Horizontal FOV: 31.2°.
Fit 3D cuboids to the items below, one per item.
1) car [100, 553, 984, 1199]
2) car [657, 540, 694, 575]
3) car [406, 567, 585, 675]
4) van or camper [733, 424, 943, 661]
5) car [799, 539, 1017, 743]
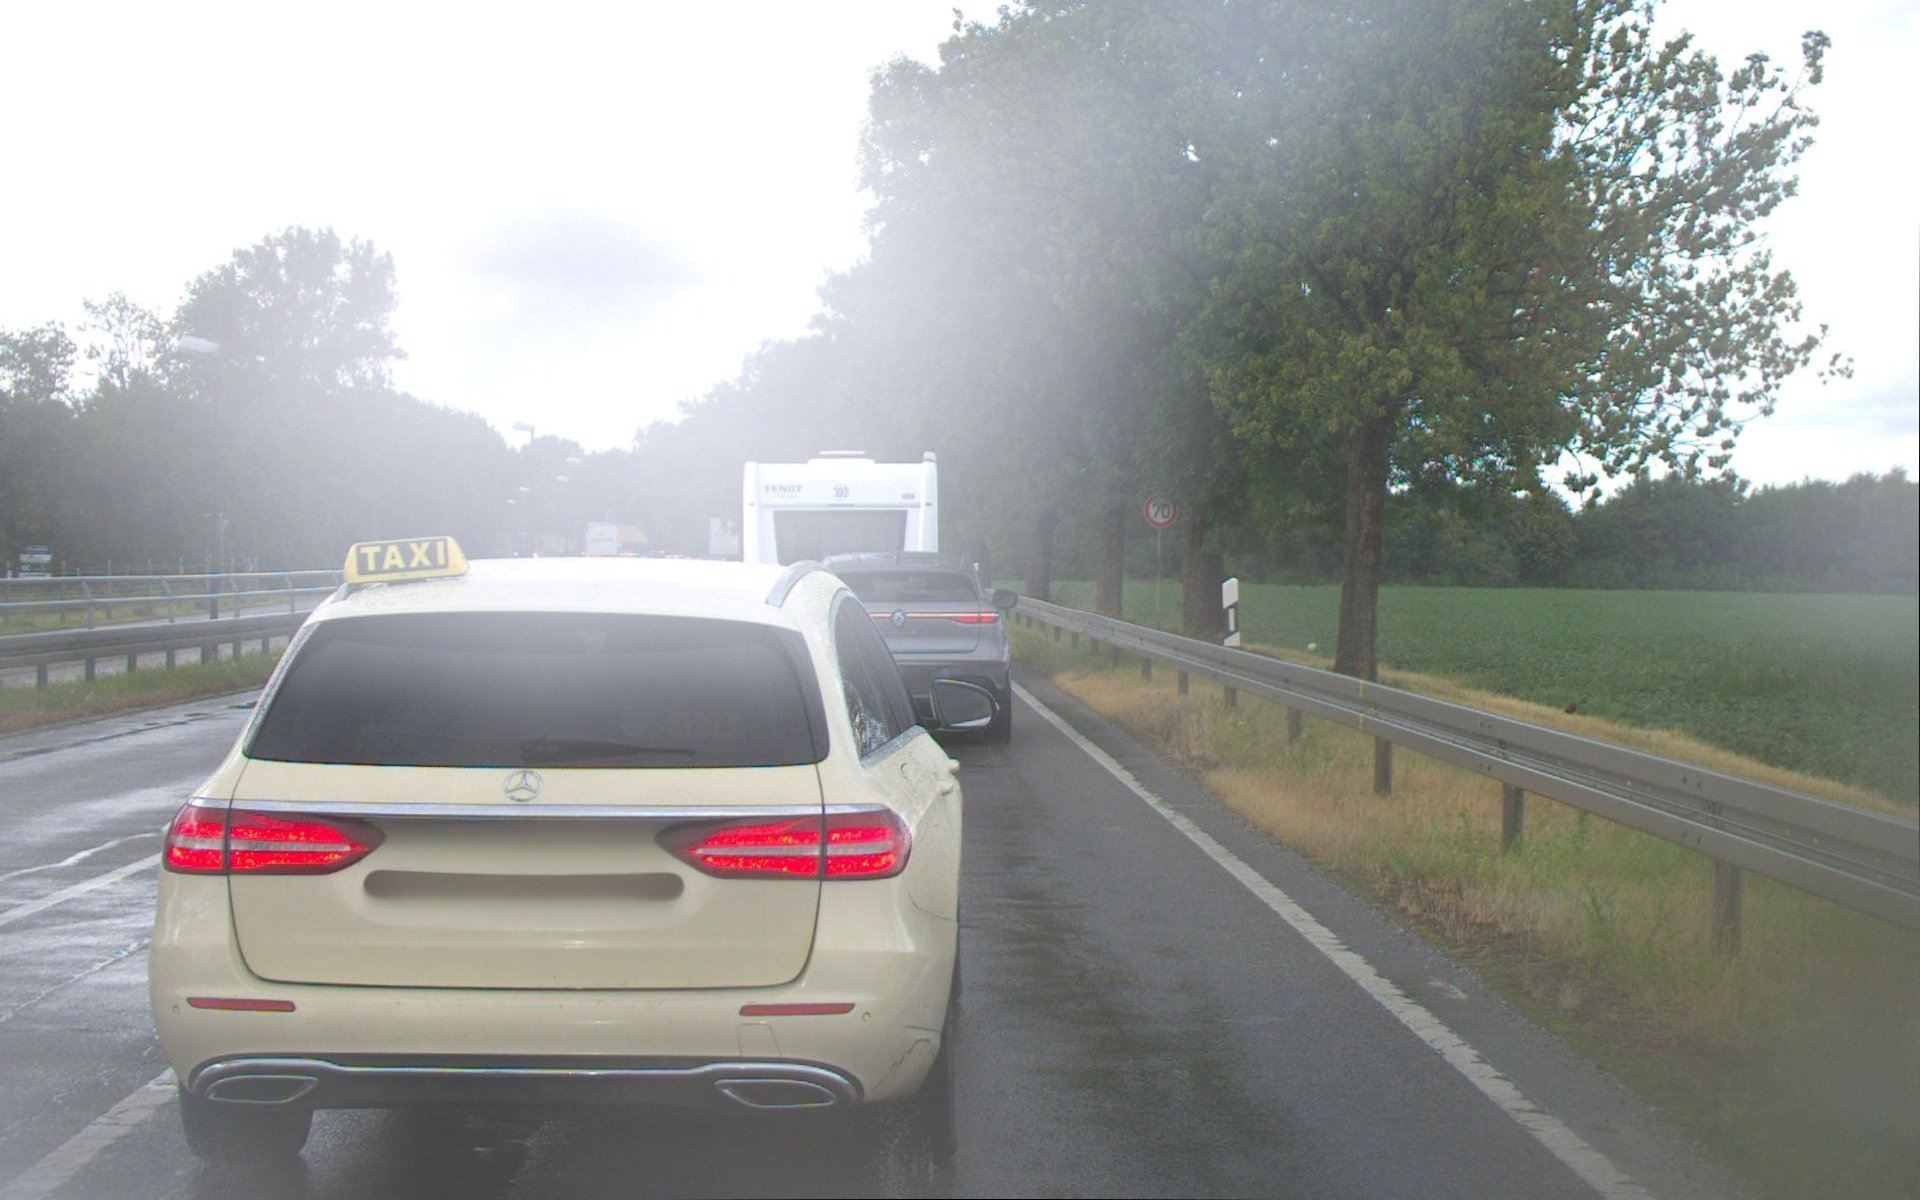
[{"bbox_3d":[-0.852,0.616,9.196,1.825,1.480,4.145,0,1,0],"label":"car"},{"bbox_3d":[-17.288,-2.586,209.096,1.993,2.044,4.000,1,1,-2],"label":"car"},{"bbox_3d":[-5.834,0.240,43.587,1.758,1.265,4.000,1,1,-1],"label":"car"},{"bbox_3d":[-1.422,-0.724,42.123,2.350,2.671,5.769,1,1,-1],"label":"van or camper"},{"bbox_3d":[-0.417,0.279,28.013,1.627,1.524,3.933,1,1,-1],"label":"car"}]
